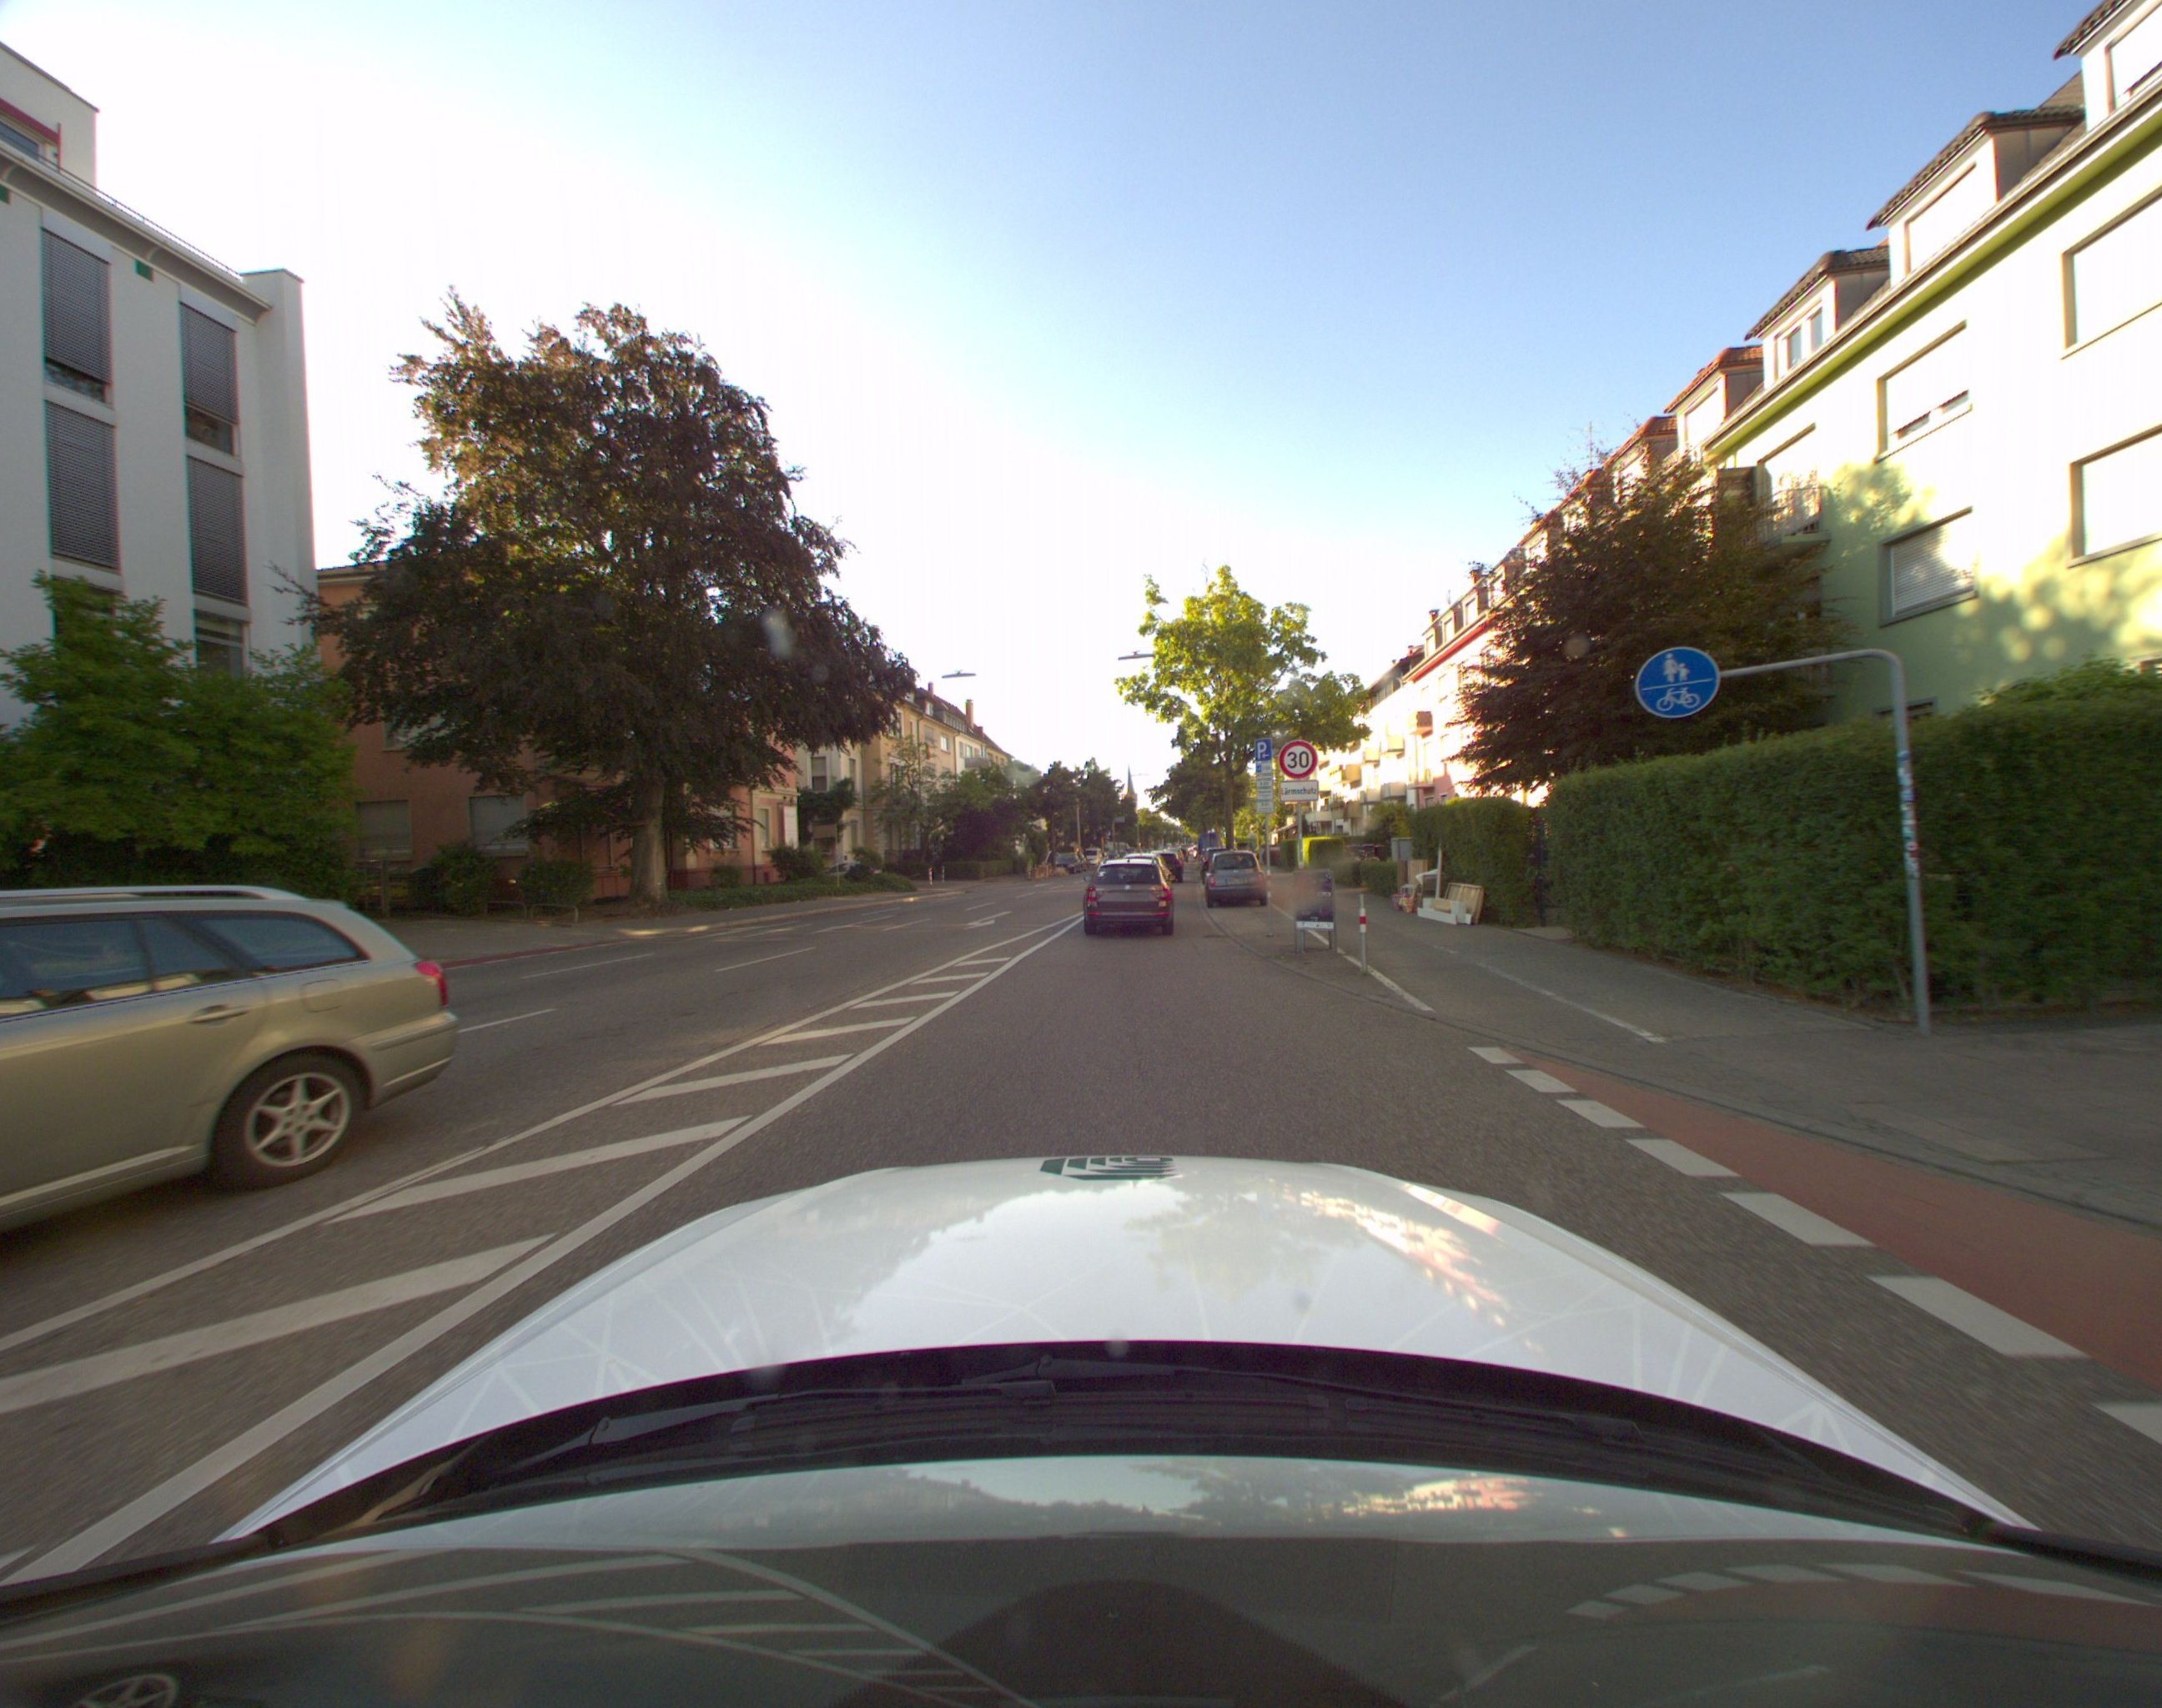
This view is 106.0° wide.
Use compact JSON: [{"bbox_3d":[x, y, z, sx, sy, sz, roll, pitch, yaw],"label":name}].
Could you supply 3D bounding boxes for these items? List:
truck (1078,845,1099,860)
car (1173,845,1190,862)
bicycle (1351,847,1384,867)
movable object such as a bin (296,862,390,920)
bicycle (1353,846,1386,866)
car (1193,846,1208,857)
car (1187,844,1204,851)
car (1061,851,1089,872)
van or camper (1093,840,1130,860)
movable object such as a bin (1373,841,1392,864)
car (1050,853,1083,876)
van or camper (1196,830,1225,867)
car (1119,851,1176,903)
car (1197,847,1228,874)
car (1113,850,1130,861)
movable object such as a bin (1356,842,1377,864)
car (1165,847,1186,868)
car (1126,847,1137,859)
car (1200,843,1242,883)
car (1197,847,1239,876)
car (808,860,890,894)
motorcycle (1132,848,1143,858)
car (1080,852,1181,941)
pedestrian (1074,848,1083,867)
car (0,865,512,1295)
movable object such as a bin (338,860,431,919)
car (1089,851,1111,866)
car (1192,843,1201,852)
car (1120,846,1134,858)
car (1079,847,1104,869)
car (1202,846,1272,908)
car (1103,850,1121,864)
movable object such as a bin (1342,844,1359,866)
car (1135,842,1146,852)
[{"bbox_3d":[1.162,-0.262,122.692,2.898,2.093,1.549,-2,1,7],"label":"truck"},{"bbox_3d":[10.904,-0.084,88.065,1.723,1.651,3.549,-2,1,8],"label":"car"},{"bbox_3d":[13.106,0.125,37.277,1.352,0.854,0.366,-2,1,7],"label":"bicycle"},{"bbox_3d":[-22.626,1.103,25.011,1.493,1.651,1.461,-2,1,11],"label":"movable object such as a bin"},{"bbox_3d":[13.032,0.095,36.826,1.362,0.854,0.369,-2,1,8],"label":"bicycle"},{"bbox_3d":[16.012,-0.360,109.335,1.810,1.413,4.123,-2,1,10],"label":"car"},{"bbox_3d":[29.823,-1.727,212.665,4.198,1.757,1.861,-3,1,-38],"label":"car"},{"bbox_3d":[-0.454,0.579,66.519,1.740,1.502,3.987,-2,1,8],"label":"car"},{"bbox_3d":[6.416,-0.859,172.278,7.602,3.874,2.003,-2,1,5],"label":"van or camper"},{"bbox_3d":[14.036,-0.072,37.938,0.608,1.002,0.798,-2,1,7],"label":"movable object such as a bin"},{"bbox_3d":[-1.059,0.777,61.397,1.740,1.502,4.206,-2,1,8],"label":"car"},{"bbox_3d":[10.134,-0.398,63.958,2.056,2.675,6.003,-2,0,8],"label":"van or camper"},{"bbox_3d":[2.204,0.711,27.382,1.722,1.493,3.955,-2,1,4],"label":"car"},{"bbox_3d":[8.656,0.396,53.751,1.764,1.642,3.764,-2,0,6],"label":"car"},{"bbox_3d":[5.391,0.179,107.383,1.744,1.420,4.436,-2,1,8],"label":"car"},{"bbox_3d":[13.317,-0.046,38.016,0.772,1.002,0.798,-2,1,7],"label":"movable object such as a bin"},{"bbox_3d":[8.247,0.294,70.744,1.723,1.651,3.549,-2,1,8],"label":"car"},{"bbox_3d":[7.772,-0.210,125.112,1.498,1.757,3.702,-2,1,8],"label":"car"},{"bbox_3d":[6.331,0.353,37.149,1.723,1.651,4.301,-2,1,8],"label":"car"},{"bbox_3d":[7.908,0.393,47.423,1.911,1.486,4.752,-2,1,4],"label":"car"},{"bbox_3d":[-11.587,1.132,40.832,3.482,1.486,1.818,-2,1,3],"label":"car"},{"bbox_3d":[9.367,-0.195,135.377,0.770,1.511,2.008,-3,1,-35],"label":"motorcycle"},{"bbox_3d":[0.895,0.759,16.704,1.724,1.493,3.949,-2,1,-1],"label":"car"},{"bbox_3d":[-0.229,0.394,88.564,0.763,2.013,0.978,-2,1,7],"label":"pedestrian"},{"bbox_3d":[-4.928,0.906,3.105,1.818,1.514,4.614,-2,1,7],"label":"car"},{"bbox_3d":[-21.088,1.049,24.703,1.493,1.651,1.461,-2,1,11],"label":"movable object such as a bin"},{"bbox_3d":[1.989,0.454,84.380,1.707,1.421,3.795,-2,1,8],"label":"car"},{"bbox_3d":[23.922,-1.362,168.628,1.721,1.815,3.958,-2,1,6],"label":"car"},{"bbox_3d":[6.866,-0.306,120.511,1.740,1.740,3.599,-2,1,8],"label":"car"},{"bbox_3d":[1.036,0.308,77.210,1.760,1.919,4.470,-2,1,8],"label":"car"},{"bbox_3d":[4.399,0.604,23.421,1.723,1.551,3.654,-2,1,8],"label":"car"},{"bbox_3d":[3.666,0.362,95.692,1.707,1.497,4.257,-2,1,8],"label":"car"},{"bbox_3d":[12.607,0.031,38.066,0.579,1.002,0.798,-2,1,7],"label":"movable object such as a bin"},{"bbox_3d":[10.384,-1.266,141.739,1.740,1.546,3.599,-2,1,8],"label":"car"}]
